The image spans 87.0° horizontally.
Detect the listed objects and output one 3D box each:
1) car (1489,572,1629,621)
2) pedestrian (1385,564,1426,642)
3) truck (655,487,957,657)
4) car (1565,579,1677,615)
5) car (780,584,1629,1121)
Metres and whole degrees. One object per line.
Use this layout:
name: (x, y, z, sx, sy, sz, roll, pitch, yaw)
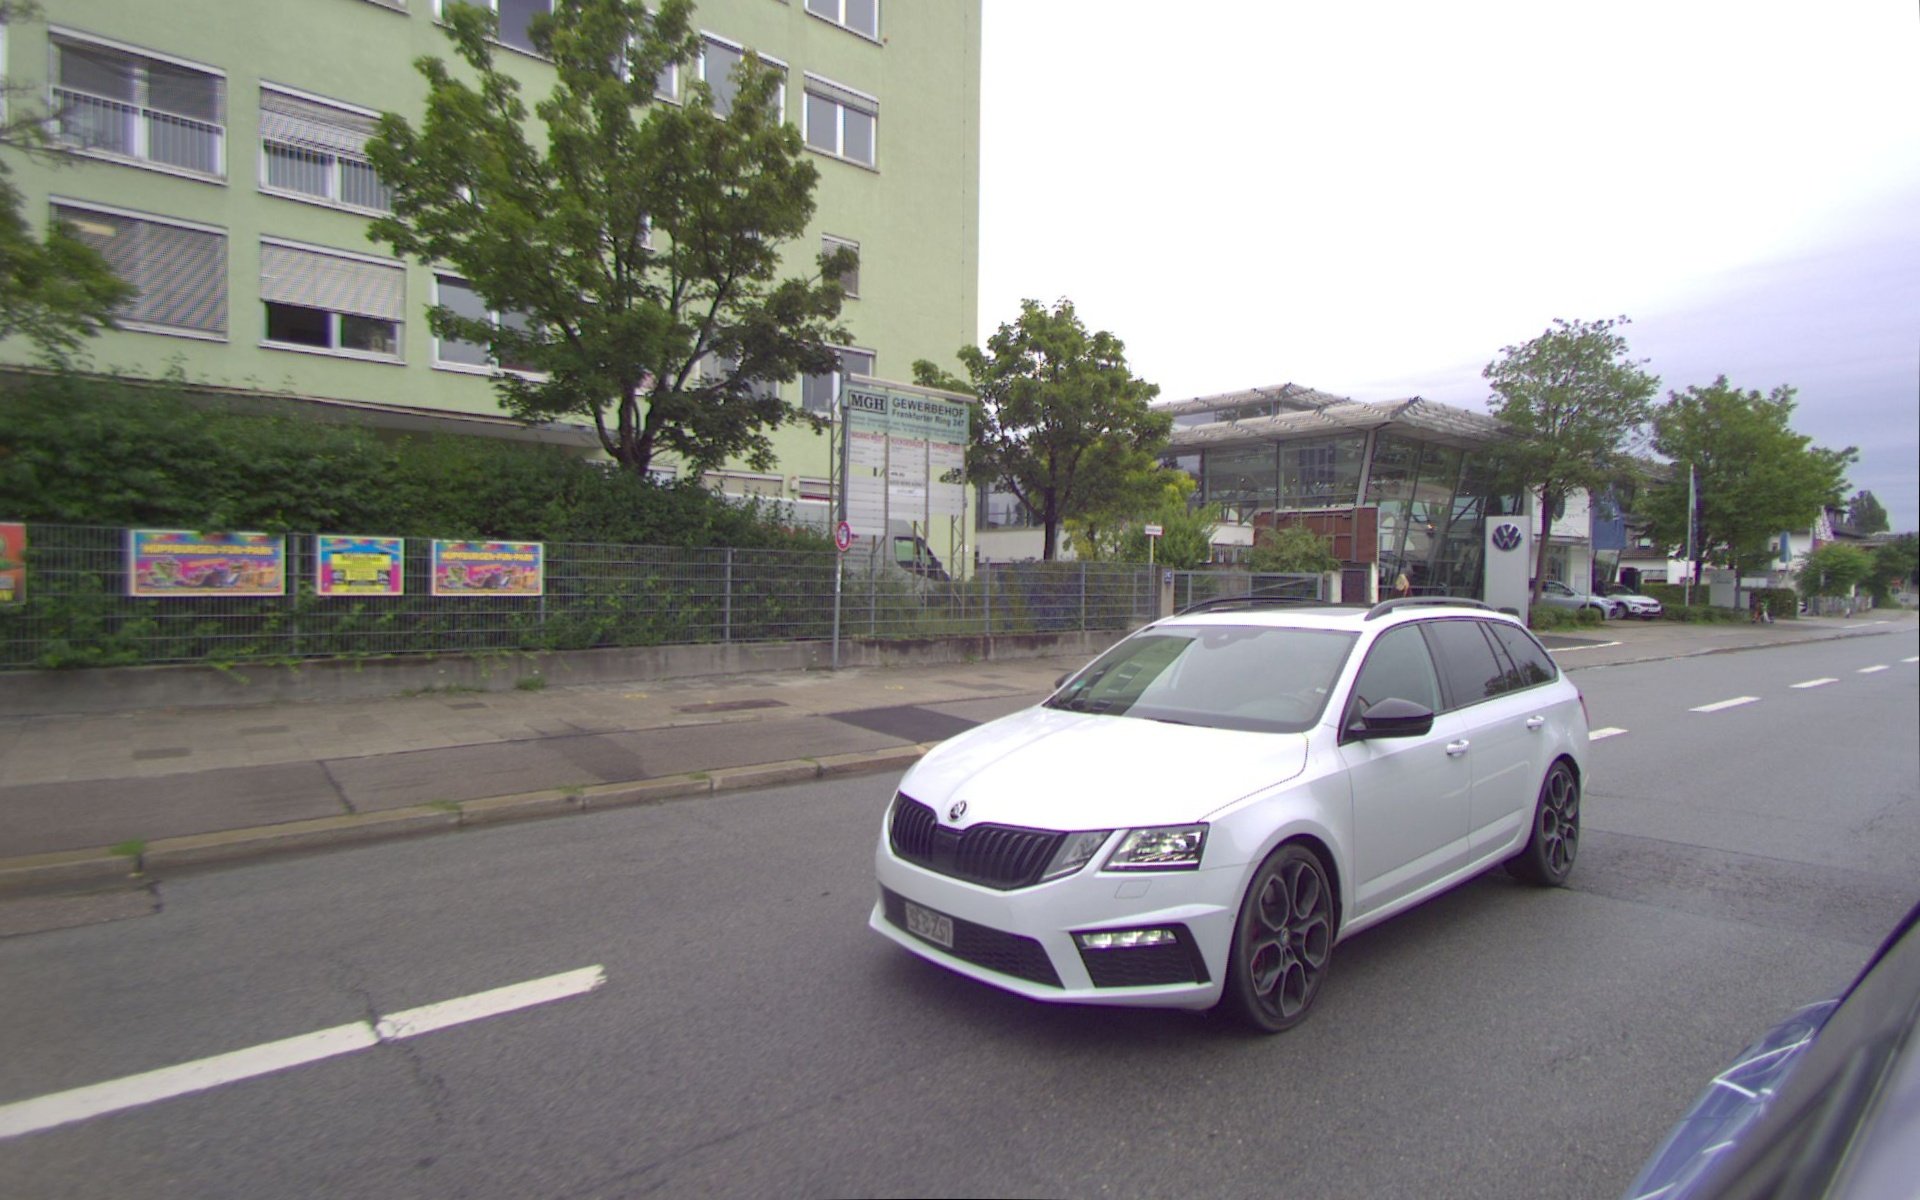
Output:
car: (23.450, -0.140, 39.842, 4.603, 1.866, 1.783, 0, 0, 28)
pedestrian: (10.779, 0.063, 24.496, 0.676, 1.844, 0.682, 0, 0, -41)
truck: (-2.775, -0.489, 18.850, 5.202, 2.782, 2.000, -1, 0, -34)
car: (29.766, -0.145, 45.685, 1.763, 1.528, 4.008, 0, 0, -18)
car: (1.519, 0.673, 4.983, 4.424, 1.486, 1.881, -1, 0, -41)
